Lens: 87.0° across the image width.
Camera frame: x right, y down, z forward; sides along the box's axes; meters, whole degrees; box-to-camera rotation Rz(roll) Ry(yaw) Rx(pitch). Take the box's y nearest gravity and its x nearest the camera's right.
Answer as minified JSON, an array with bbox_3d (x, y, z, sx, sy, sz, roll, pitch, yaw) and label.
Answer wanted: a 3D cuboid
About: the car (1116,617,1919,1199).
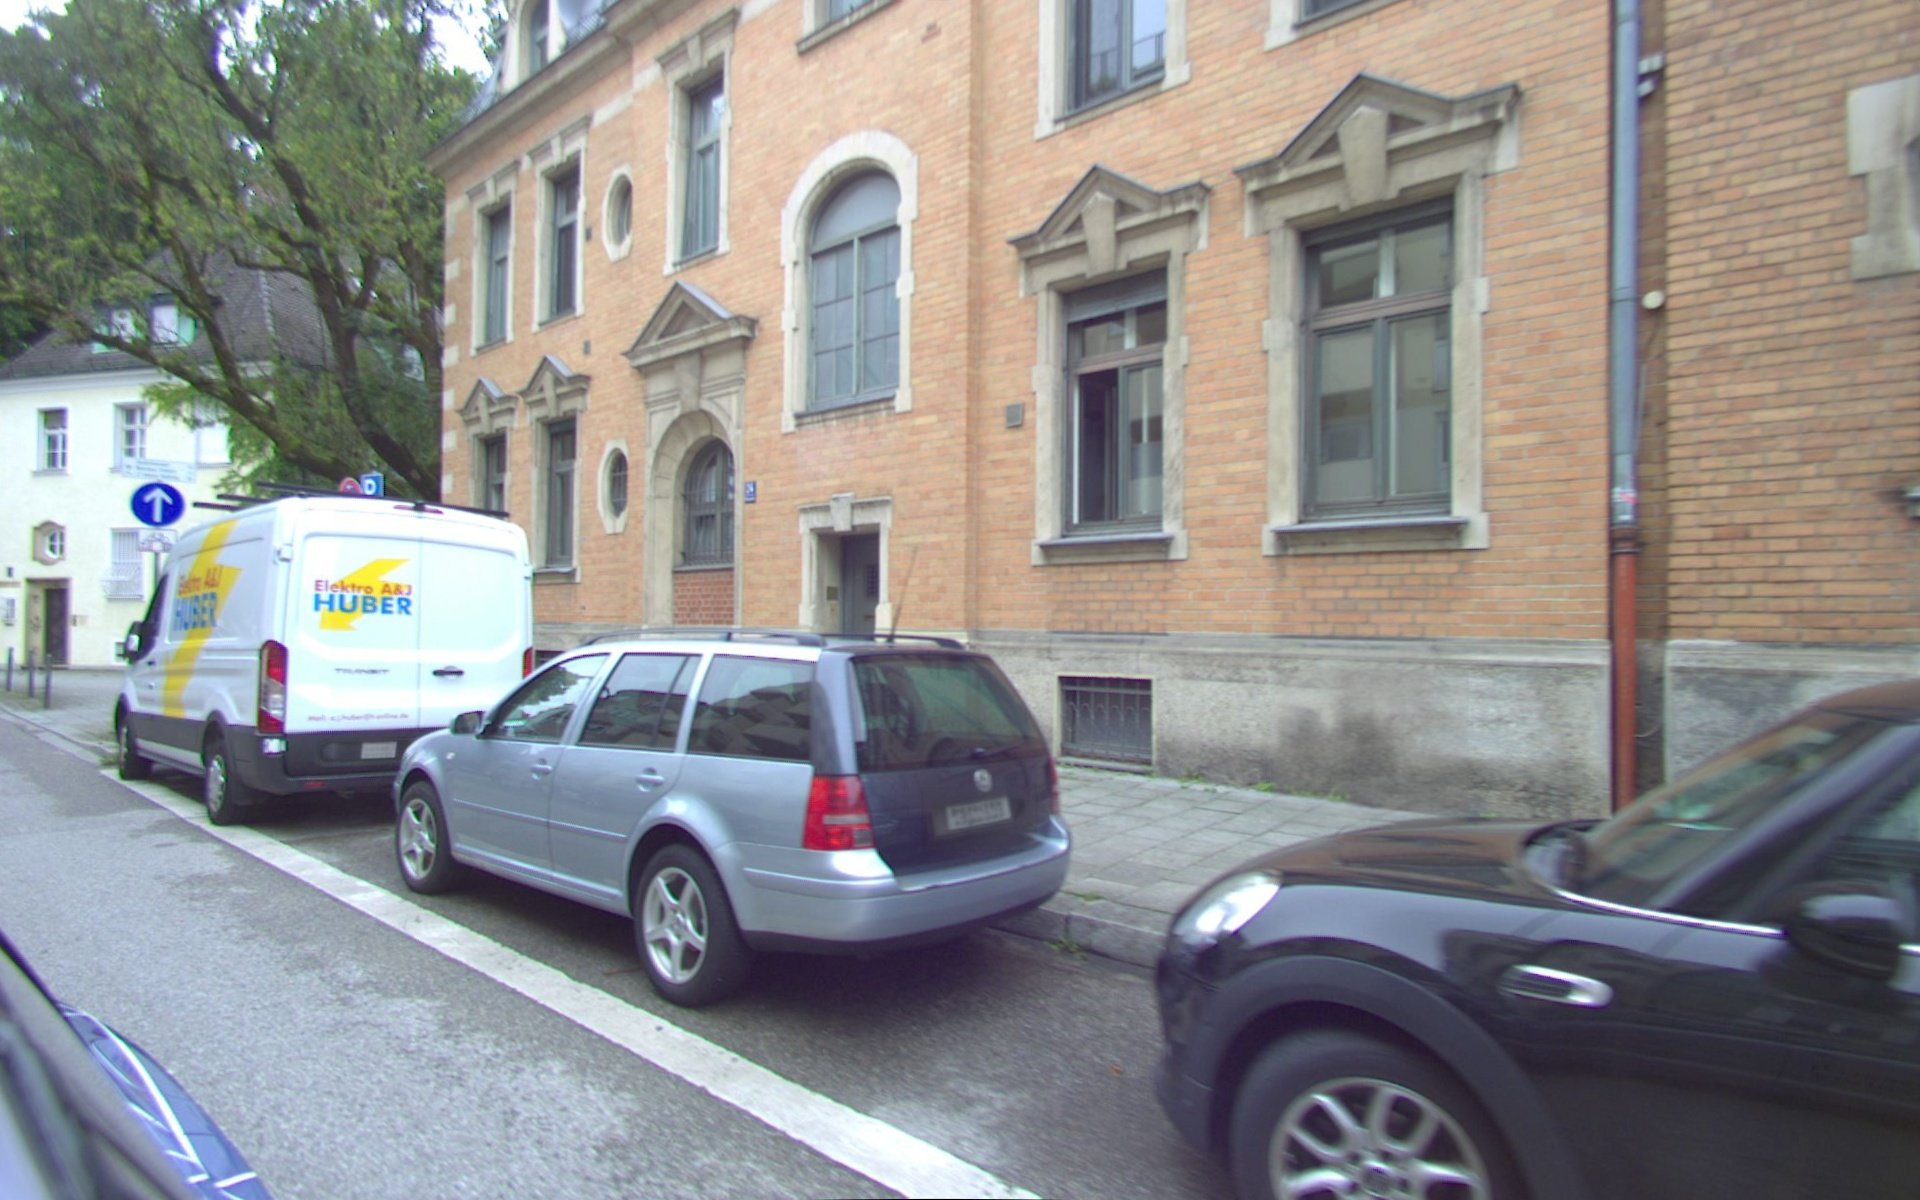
[{"bbox_3d":[2.374,0.780,1.888,3.829,1.442,1.680,-1,-3,42],"label":"car"}]

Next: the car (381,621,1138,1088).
[{"bbox_3d":[-1.265,0.875,5.168,3.995,1.465,1.671,-1,-4,41],"label":"car"}]

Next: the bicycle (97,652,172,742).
[{"bbox_3d":[-10.879,1.241,13.319,1.763,1.062,0.573,-1,-2,45],"label":"bicycle"}]

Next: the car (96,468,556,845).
[{"bbox_3d":[-6.013,0.435,9.232,5.469,2.487,1.971,-1,-3,41],"label":"car"}]
